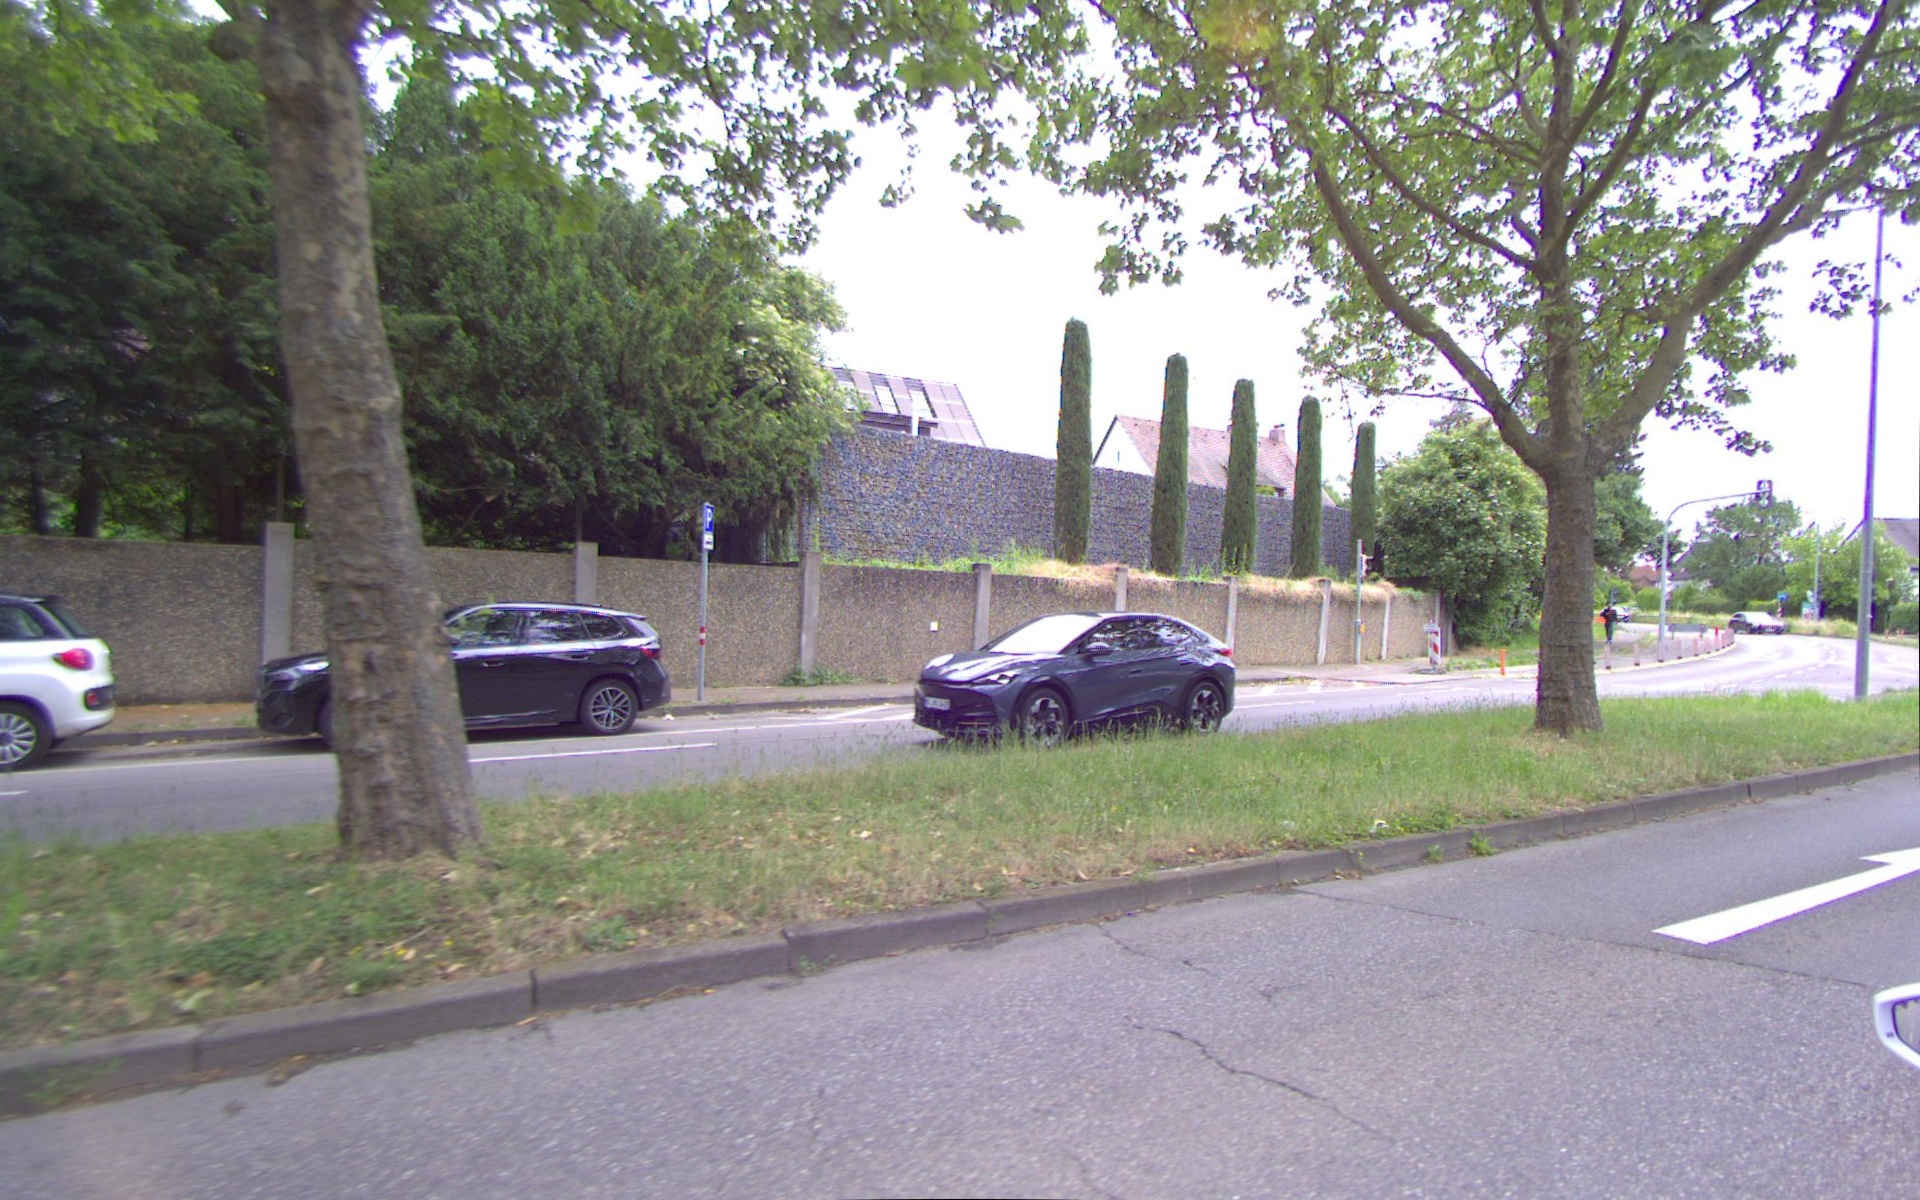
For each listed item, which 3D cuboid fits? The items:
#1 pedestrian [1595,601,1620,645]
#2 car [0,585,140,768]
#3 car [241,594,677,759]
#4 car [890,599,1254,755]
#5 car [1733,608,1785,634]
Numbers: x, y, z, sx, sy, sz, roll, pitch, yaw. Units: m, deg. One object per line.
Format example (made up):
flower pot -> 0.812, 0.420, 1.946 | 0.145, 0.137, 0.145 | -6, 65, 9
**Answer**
pedestrian -> 30.899, 1.095, 47.933 | 0.937, 2.041, 0.852 | 3, 1, 35
car -> -10.126, 0.674, 9.000 | 4.178, 1.637, 1.779 | 2, -2, -37
car -> -5.862, 0.819, 12.067 | 4.424, 1.637, 1.777 | 2, -2, -39
car -> 1.519, 0.872, 12.597 | 4.543, 1.637, 1.779 | 1, -2, -36
car -> 54.326, 1.398, 68.359 | 1.811, 1.653, 4.257 | 0, 0, 25
